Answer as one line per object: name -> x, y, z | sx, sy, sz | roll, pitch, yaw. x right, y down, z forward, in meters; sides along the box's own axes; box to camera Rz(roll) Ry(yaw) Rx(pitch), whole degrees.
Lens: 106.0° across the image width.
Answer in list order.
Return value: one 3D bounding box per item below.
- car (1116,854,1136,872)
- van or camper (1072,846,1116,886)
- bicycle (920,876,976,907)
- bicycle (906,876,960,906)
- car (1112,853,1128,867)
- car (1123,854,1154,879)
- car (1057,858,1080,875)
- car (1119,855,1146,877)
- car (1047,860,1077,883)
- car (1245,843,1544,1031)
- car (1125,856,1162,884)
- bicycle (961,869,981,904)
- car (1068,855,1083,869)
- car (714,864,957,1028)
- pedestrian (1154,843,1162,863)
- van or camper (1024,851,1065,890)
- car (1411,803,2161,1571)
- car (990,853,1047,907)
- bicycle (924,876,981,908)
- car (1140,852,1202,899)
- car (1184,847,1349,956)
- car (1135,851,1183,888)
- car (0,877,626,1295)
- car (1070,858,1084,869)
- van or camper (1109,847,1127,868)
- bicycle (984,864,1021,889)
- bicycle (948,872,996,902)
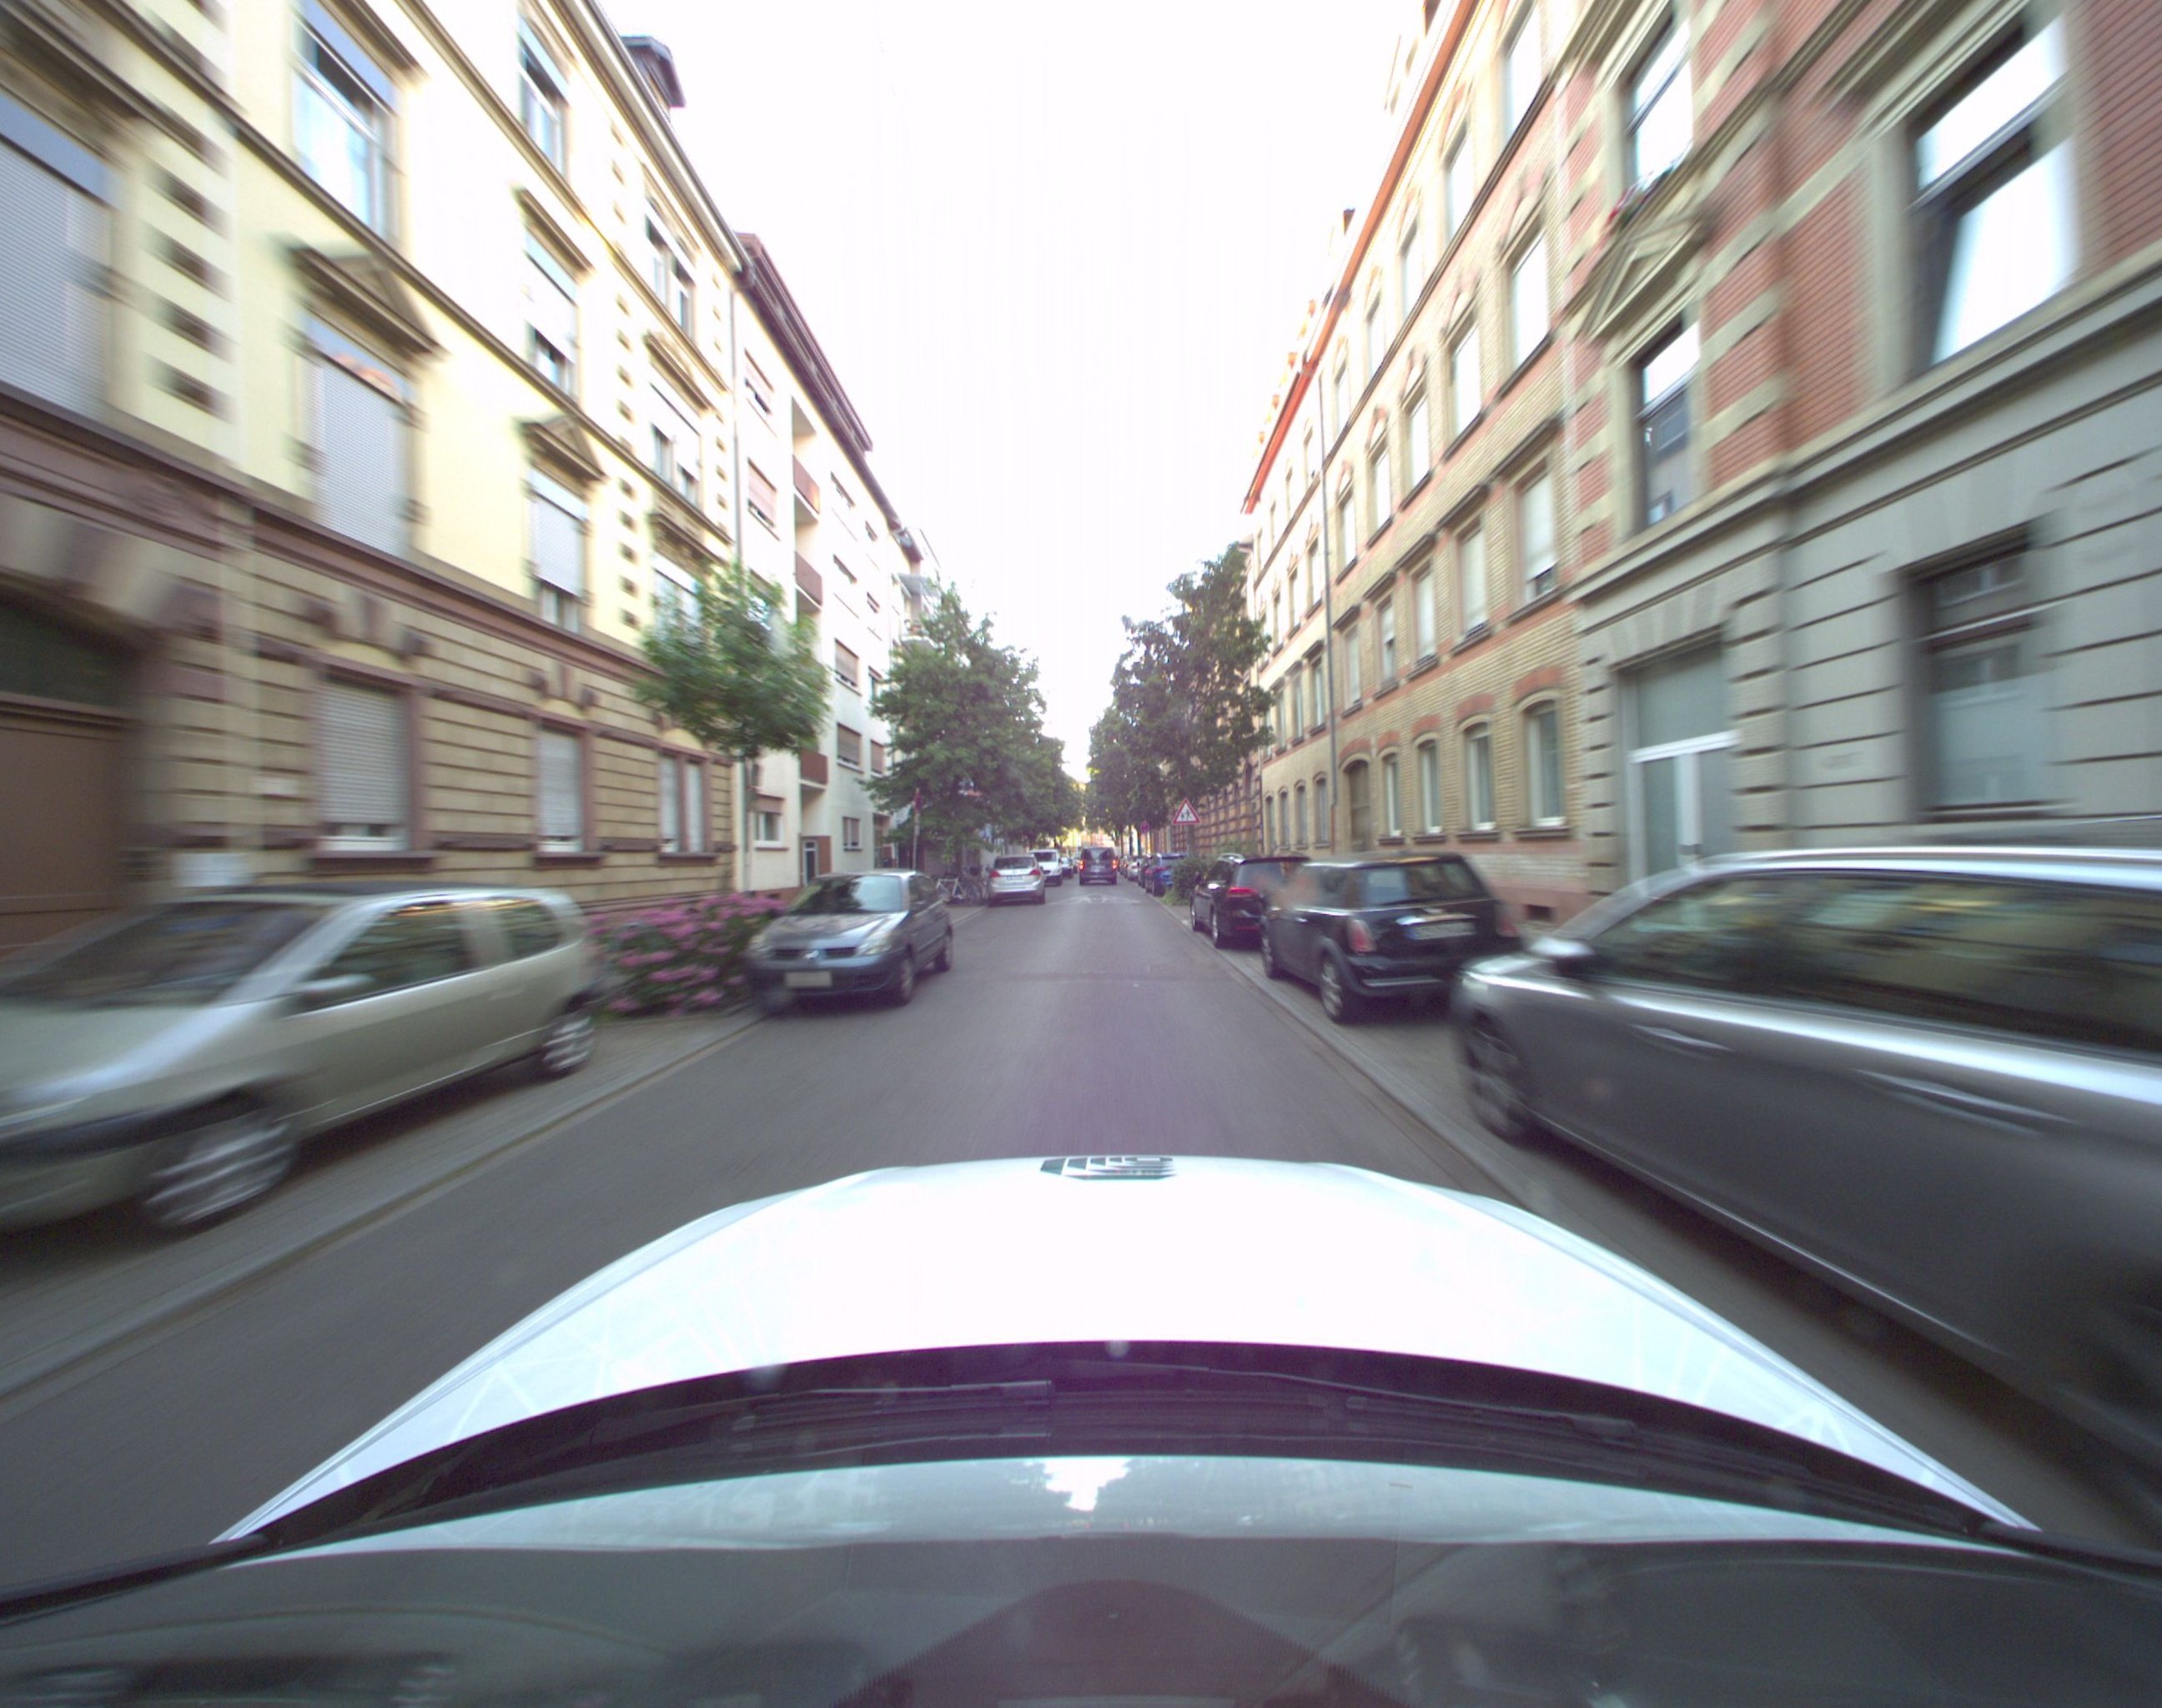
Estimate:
car -> 4.202, 0.854, 76.785 | 1.607, 1.559, 3.764 | -3, 0, -1
van or camper -> 0.724, 0.588, 41.514 | 2.027, 1.897, 4.274 | -2, 0, 3
bicycle -> -4.208, 1.171, 25.732 | 1.709, 0.898, 0.380 | -1, -1, -29
bicycle -> -4.742, 1.182, 26.106 | 1.670, 0.898, 0.380 | -1, -1, -29
car -> 4.479, 0.677, 93.997 | 1.744, 1.471, 3.777 | -2, 0, 1
car -> 3.715, 0.811, 53.054 | 1.716, 1.450, 4.215 | -3, -1, 1
car -> -1.114, 1.142, 74.521 | 1.840, 1.451, 4.503 | -1, 0, 1
car -> 3.964, 0.918, 62.959 | 1.693, 1.482, 3.998 | -4, 0, -1
car -> -1.273, 1.190, 56.452 | 1.824, 1.517, 4.516 | -2, -1, 0
car -> 2.897, 0.674, 8.361 | 1.630, 1.424, 3.564 | -3, 0, 0
car -> 3.470, 0.861, 45.717 | 1.688, 1.401, 4.646 | -3, 0, 0
bicycle -> -3.675, 1.082, 27.271 | 0.418, 1.103, 1.665 | -1, -1, 0
car -> -0.634, 0.962, 96.240 | 1.625, 1.430, 3.543 | -3, 3, 0
car -> -2.561, 0.877, 9.414 | 1.575, 1.420, 3.753 | -2, 0, 1
pedestrian -> 6.568, -0.085, 69.219 | 0.625, 1.648, 0.532 | -1, -1, 1
van or camper -> -1.843, 0.806, 42.114 | 1.871, 1.843, 4.751 | -3, 0, -1
car -> 2.913, 0.615, 2.751 | 1.712, 1.476, 4.366 | -4, 0, -1
car -> -1.985, 0.812, 26.851 | 1.659, 1.563, 3.997 | -2, 0, -2
bicycle -> -3.996, 1.163, 25.329 | 1.709, 0.907, 0.380 | -1, -1, -29
car -> 3.113, 0.710, 28.939 | 1.623, 1.466, 4.243 | -2, 0, -1
car -> 2.890, 0.677, 13.684 | 1.760, 1.415, 4.475 | -4, 0, 1
car -> 3.380, 0.666, 35.810 | 1.706, 1.478, 4.192 | -2, 0, 0
car -> -4.478, 0.902, 4.762 | 1.582, 1.437, 3.566 | 0, 0, 1
car -> -0.583, 1.262, 108.821 | 1.735, 1.404, 3.375 | -3, 0, 1
van or camper -> 4.740, 0.492, 104.979 | 1.987, 2.599, 5.423 | -2, 0, 0
bicycle -> -3.939, 1.147, 41.119 | 0.690, 1.163, 1.834 | -3, 0, 43
bicycle -> -3.874, 1.179, 28.863 | 1.708, 0.994, 0.580 | -3, 0, 34
